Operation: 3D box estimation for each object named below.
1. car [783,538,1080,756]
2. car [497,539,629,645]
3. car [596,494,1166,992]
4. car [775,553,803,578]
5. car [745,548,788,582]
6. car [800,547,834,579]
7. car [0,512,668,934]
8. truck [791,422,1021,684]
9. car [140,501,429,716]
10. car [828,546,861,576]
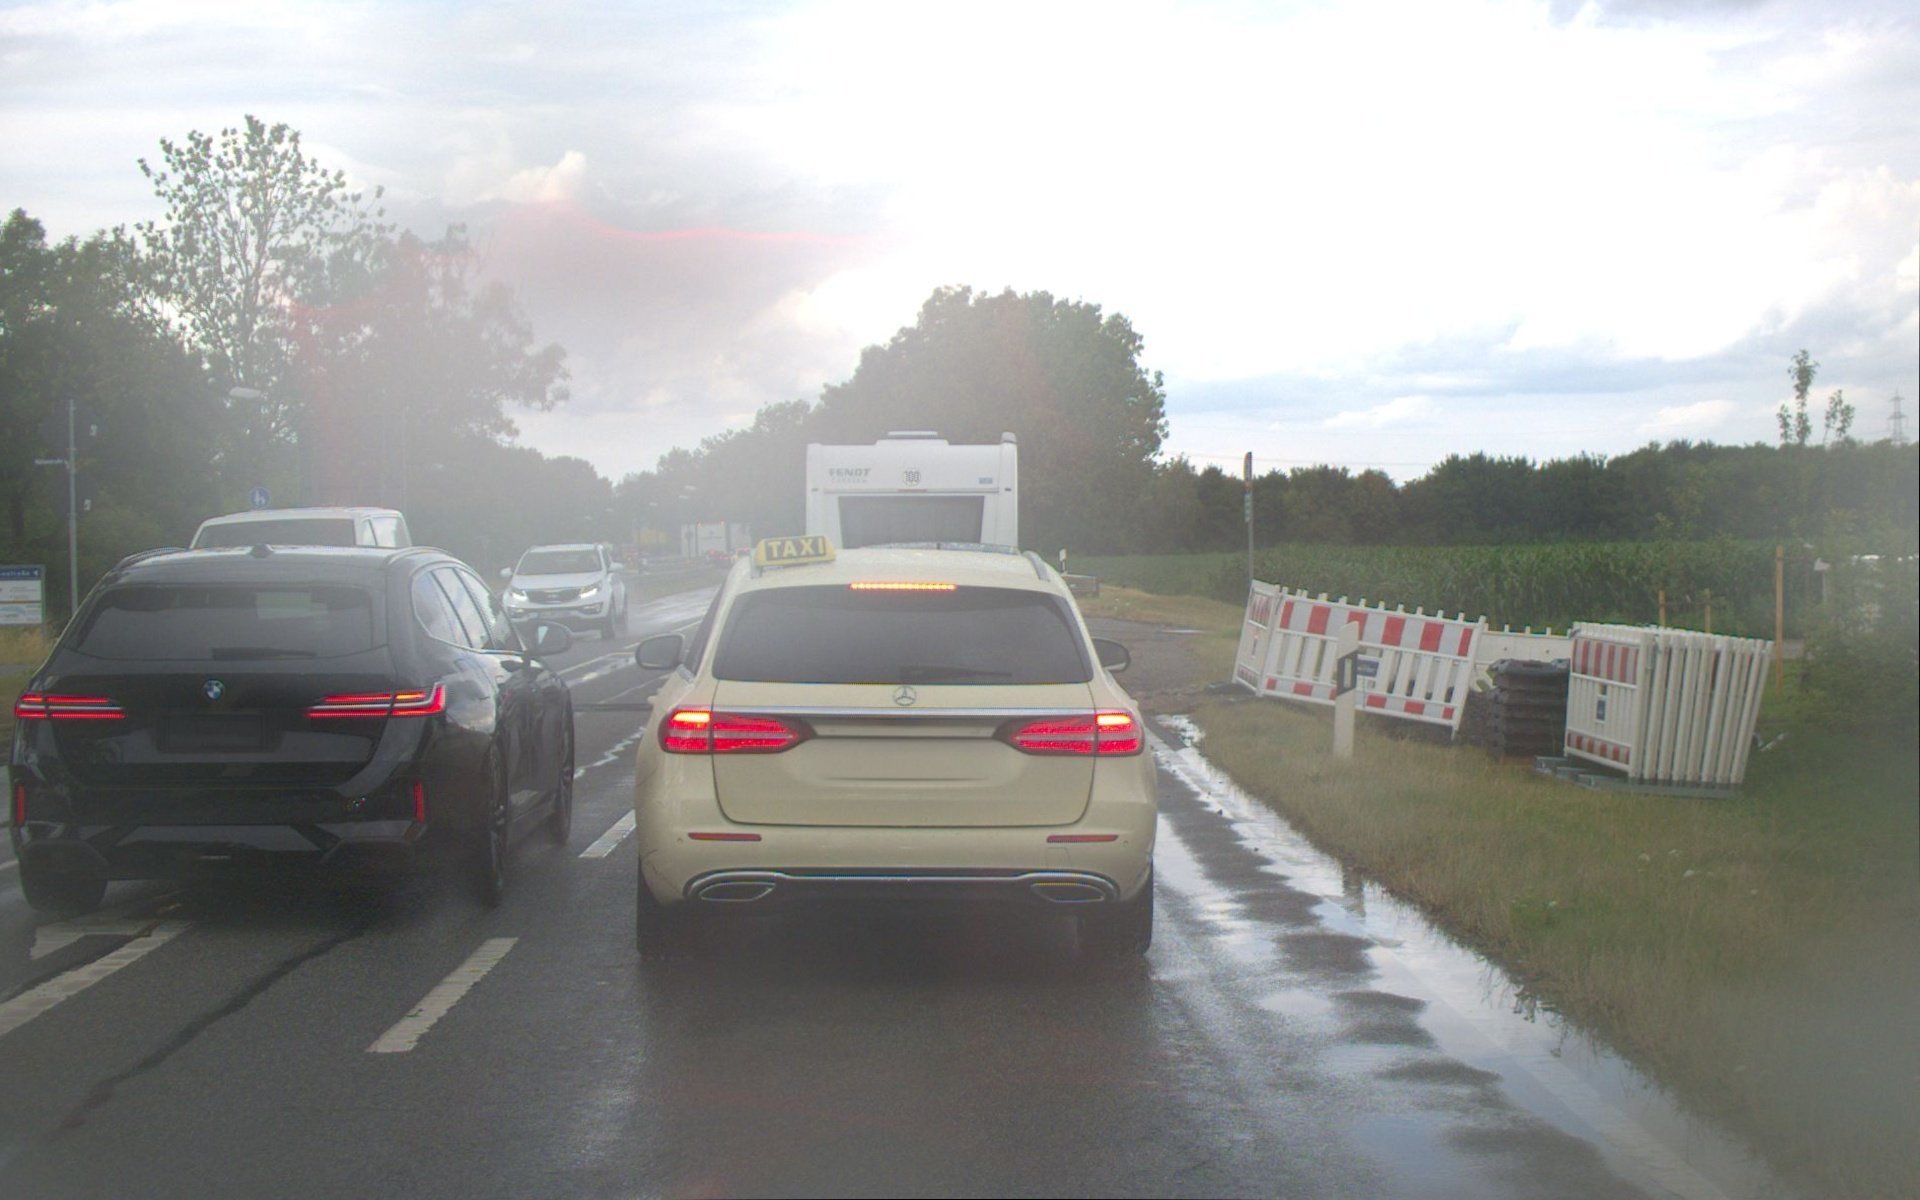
[{"bbox_3d":[-0.235,0.294,25.306,1.993,1.457,4.000,1,1,-1],"label":"car"},{"bbox_3d":[-6.752,-0.174,58.865,1.704,1.665,4.156,-3,1,0],"label":"car"},{"bbox_3d":[-0.300,0.438,13.141,1.842,1.612,4.000,0,1,-1],"label":"car"},{"bbox_3d":[-12.670,-2.560,255.225,1.895,1.833,3.882,-1,1,-1],"label":"car"},{"bbox_3d":[-8.614,-1.563,153.168,1.719,1.399,4.044,-3,1,-2],"label":"car"},{"bbox_3d":[-8.650,-2.229,207.348,1.895,1.888,3.844,-1,1,-4],"label":"car"},{"bbox_3d":[-2.588,0.431,15.070,2.302,1.542,4.633,1,1,-1],"label":"car"},{"bbox_3d":[-0.649,-0.562,39.988,2.363,2.719,7.315,-1,1,-1],"label":"truck"},{"bbox_3d":[-6.471,0.048,33.454,1.916,1.855,4.685,-3,1,-1],"label":"car"},{"bbox_3d":[-6.128,-2.085,182.148,1.682,1.545,3.753,1,1,-1],"label":"car"}]
